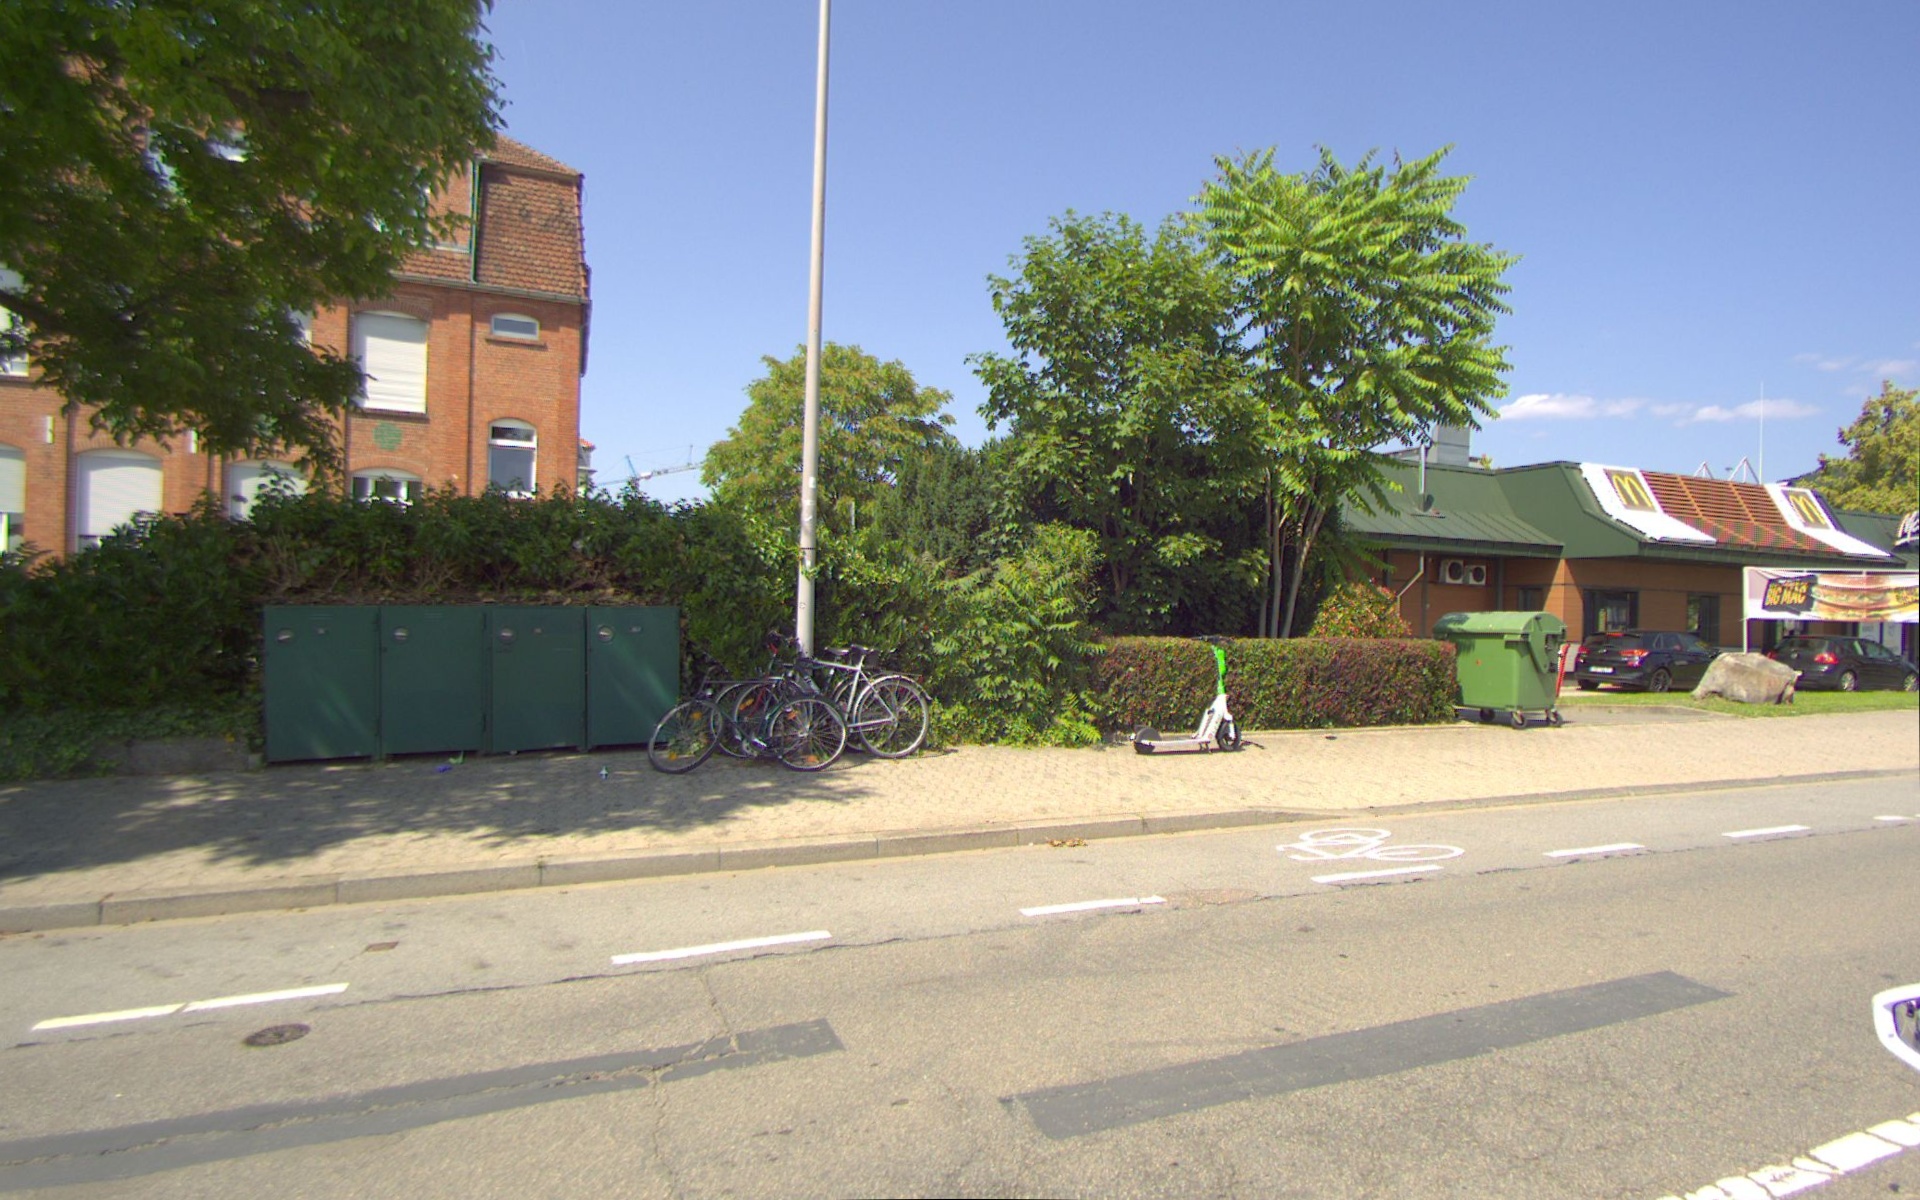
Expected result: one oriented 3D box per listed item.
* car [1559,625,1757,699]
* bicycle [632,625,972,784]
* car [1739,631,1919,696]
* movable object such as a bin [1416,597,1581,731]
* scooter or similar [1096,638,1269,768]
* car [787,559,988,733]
[{"bbox_3d":[16.327,1.391,23.500,4.260,1.496,1.822,1,2,-24],"label":"car"},{"bbox_3d":[-1.360,0.834,8.728,2.728,1.133,1.023,1,3,-25],"label":"bicycle"},{"bbox_3d":[22.616,1.597,25.973,4.066,1.435,1.991,1,2,-20],"label":"car"},{"bbox_3d":[6.979,0.787,13.063,1.292,1.611,1.441,1,-1,-30],"label":"movable object such as a bin"},{"bbox_3d":[2.203,0.975,9.909,1.603,1.143,0.644,1,3,-28],"label":"scooter or similar"},{"bbox_3d":[-1.081,0.641,12.832,1.758,1.864,3.765,1,-4,-17],"label":"car"}]
